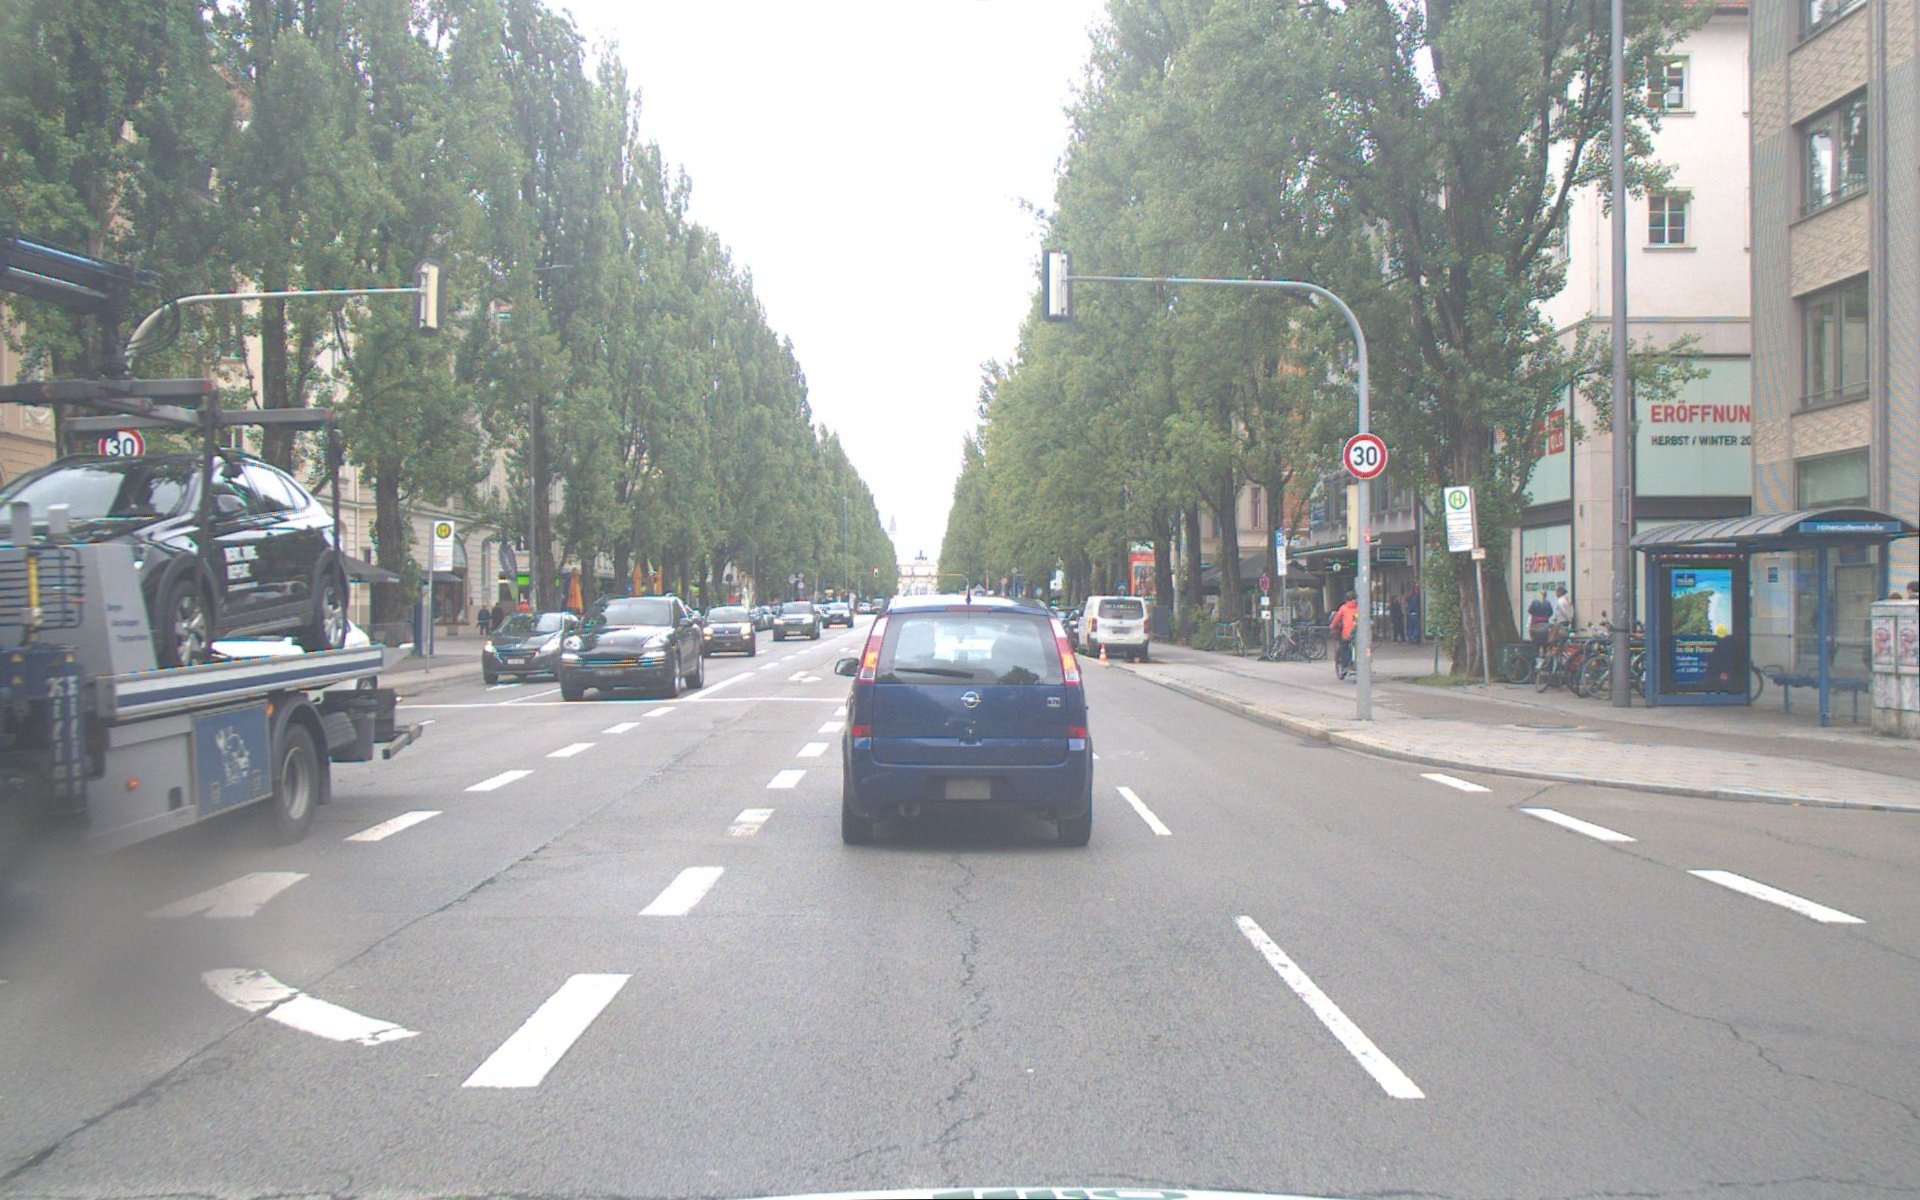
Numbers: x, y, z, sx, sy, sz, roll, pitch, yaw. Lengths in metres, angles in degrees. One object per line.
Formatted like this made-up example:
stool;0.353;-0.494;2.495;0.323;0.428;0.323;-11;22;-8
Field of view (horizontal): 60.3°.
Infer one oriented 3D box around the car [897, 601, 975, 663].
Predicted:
car;-0.676;0.801;43.236;1.953;1.524;3.998;0;0;-2

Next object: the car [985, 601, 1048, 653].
car;1.791;0.832;53.487;1.672;1.601;3.997;0;0;-3

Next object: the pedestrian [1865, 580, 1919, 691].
pedestrian;15.103;0.560;26.455;0.734;1.748;0.963;0;0;0

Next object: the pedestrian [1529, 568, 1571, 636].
pedestrian;15.564;0.053;43.625;0.735;1.748;0.962;0;0;-1

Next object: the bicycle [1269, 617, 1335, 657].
bicycle;9.303;0.998;44.979;1.727;1.062;0.482;0;0;-13

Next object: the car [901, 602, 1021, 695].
car;-0.058;0.797;29.160;1.953;1.524;3.998;0;0;-2

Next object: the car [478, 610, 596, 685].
car;-9.044;0.982;35.660;1.609;1.464;3.995;-1;0;-2

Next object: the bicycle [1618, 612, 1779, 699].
bicycle;11.138;0.829;25.016;2.194;1.274;0.477;0;0;23

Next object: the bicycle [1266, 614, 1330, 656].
bicycle;9.332;0.957;45.670;1.707;1.130;0.447;0;0;-12

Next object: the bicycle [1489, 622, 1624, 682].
bicycle;10.658;0.926;29.604;2.105;1.035;0.874;0;0;-2

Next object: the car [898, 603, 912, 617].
car;-7.143;1.268;216.256;1.798;1.792;3.777;0;0;-2

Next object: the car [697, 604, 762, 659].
car;-6.868;0.913;49.577;1.530;1.522;3.693;-1;0;-2

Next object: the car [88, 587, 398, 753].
car;-8.497;0.757;20.103;1.800;1.746;4.634;-1;0;-1

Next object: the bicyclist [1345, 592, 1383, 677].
bicyclist;7.743;0.650;31.704;0.609;1.616;0.391;0;0;-2

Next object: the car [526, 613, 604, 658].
car;-12.256;1.082;51.518;1.843;1.321;4.089;0;0;-6

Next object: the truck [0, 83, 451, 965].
truck;-5.325;-0.315;9.419;2.413;3.734;8.437;0;0;-1

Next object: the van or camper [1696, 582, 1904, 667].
van or camper;20.139;0.582;39.784;4.019;1.899;1.898;1;-1;2

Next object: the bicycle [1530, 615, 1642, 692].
bicycle;10.394;0.887;27.482;1.689;1.261;0.449;0;0;0

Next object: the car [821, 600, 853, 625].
car;-8.123;0.819;109.144;1.896;1.652;4.335;0;0;-2

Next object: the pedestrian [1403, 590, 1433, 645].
pedestrian;15.736;0.601;56.829;0.852;1.861;0.835;0;0;26

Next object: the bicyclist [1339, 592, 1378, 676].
bicyclist;7.731;0.653;32.089;0.609;1.616;0.481;0;0;-2

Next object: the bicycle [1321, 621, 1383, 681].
bicycle;7.715;0.982;32.633;0.614;1.106;2.262;0;0;-2

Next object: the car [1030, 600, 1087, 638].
car;4.075;0.764;68.768;1.781;1.532;4.228;0;0;-5

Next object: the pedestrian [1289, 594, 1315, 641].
pedestrian;13.774;0.685;66.577;0.809;1.873;1.099;0;0;-1

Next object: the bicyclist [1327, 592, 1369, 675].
bicyclist;7.702;0.661;32.842;0.609;1.616;0.752;0;0;-2

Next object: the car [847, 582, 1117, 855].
car;0.062;0.733;12.184;1.647;1.670;3.998;1;0;-2

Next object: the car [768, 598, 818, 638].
car;-7.344;0.758;73.012;1.874;1.710;4.584;0;0;-2

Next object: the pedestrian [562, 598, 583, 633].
pedestrian;-19.766;0.765;84.431;0.834;1.775;1.148;0;0;-1

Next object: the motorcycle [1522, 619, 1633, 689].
motorcycle;10.474;0.907;28.055;1.689;1.160;0.510;0;0;0

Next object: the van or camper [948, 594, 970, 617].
van or camper;-0.106;0.623;188.797;2.426;2.626;5.842;-1;0;-1

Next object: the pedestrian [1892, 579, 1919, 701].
pedestrian;14.472;0.591;24.560;0.734;1.789;0.859;0;-2;0

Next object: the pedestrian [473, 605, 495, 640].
pedestrian;-21.373;1.014;74.276;0.753;1.564;0.804;0;0;-2

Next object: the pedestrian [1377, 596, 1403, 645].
pedestrian;14.944;0.711;57.517;0.656;1.637;0.772;-3;1;6

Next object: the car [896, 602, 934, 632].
car;-2.371;0.862;86.771;1.953;1.524;3.998;0;0;-2

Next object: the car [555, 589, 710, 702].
car;-5.532;0.727;28.475;1.846;1.777;4.438;0;0;-1

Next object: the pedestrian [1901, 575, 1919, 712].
pedestrian;13.362;0.592;22.313;0.802;1.850;0.890;0;0;-3

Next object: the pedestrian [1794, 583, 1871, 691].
pedestrian;14.204;0.592;26.948;0.734;1.706;0.963;0;0;0

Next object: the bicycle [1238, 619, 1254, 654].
bicycle;8.722;1.105;50.437;0.357;1.056;1.732;0;0;6

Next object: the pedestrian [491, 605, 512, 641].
pedestrian;-20.513;1.025;73.975;0.753;1.564;0.804;0;0;-2

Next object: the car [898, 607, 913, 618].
car;-7.000;1.608;211.482;1.922;1.424;3.777;-1;0;-2

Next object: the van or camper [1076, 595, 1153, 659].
van or camper;4.845;0.821;52.512;1.831;1.916;4.901;0;0;-2

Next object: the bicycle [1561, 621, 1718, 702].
bicycle;11.006;0.989;26.832;2.296;1.274;0.633;0;0;-2

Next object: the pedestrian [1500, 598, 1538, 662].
pedestrian;14.748;0.784;43.648;0.638;1.692;0.962;0;0;-1

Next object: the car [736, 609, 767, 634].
car;-12.722;1.312;101.043;1.598;1.453;2.982;0;0;-3

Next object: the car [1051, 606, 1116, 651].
car;4.283;0.975;58.050;1.685;1.467;4.351;2;0;-3

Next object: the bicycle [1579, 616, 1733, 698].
bicycle;11.029;0.892;26.225;2.268;1.274;0.477;0;0;-2

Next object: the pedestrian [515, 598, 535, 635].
pedestrian;-20.032;0.767;76.200;0.719;1.702;0.952;0;0;-2
